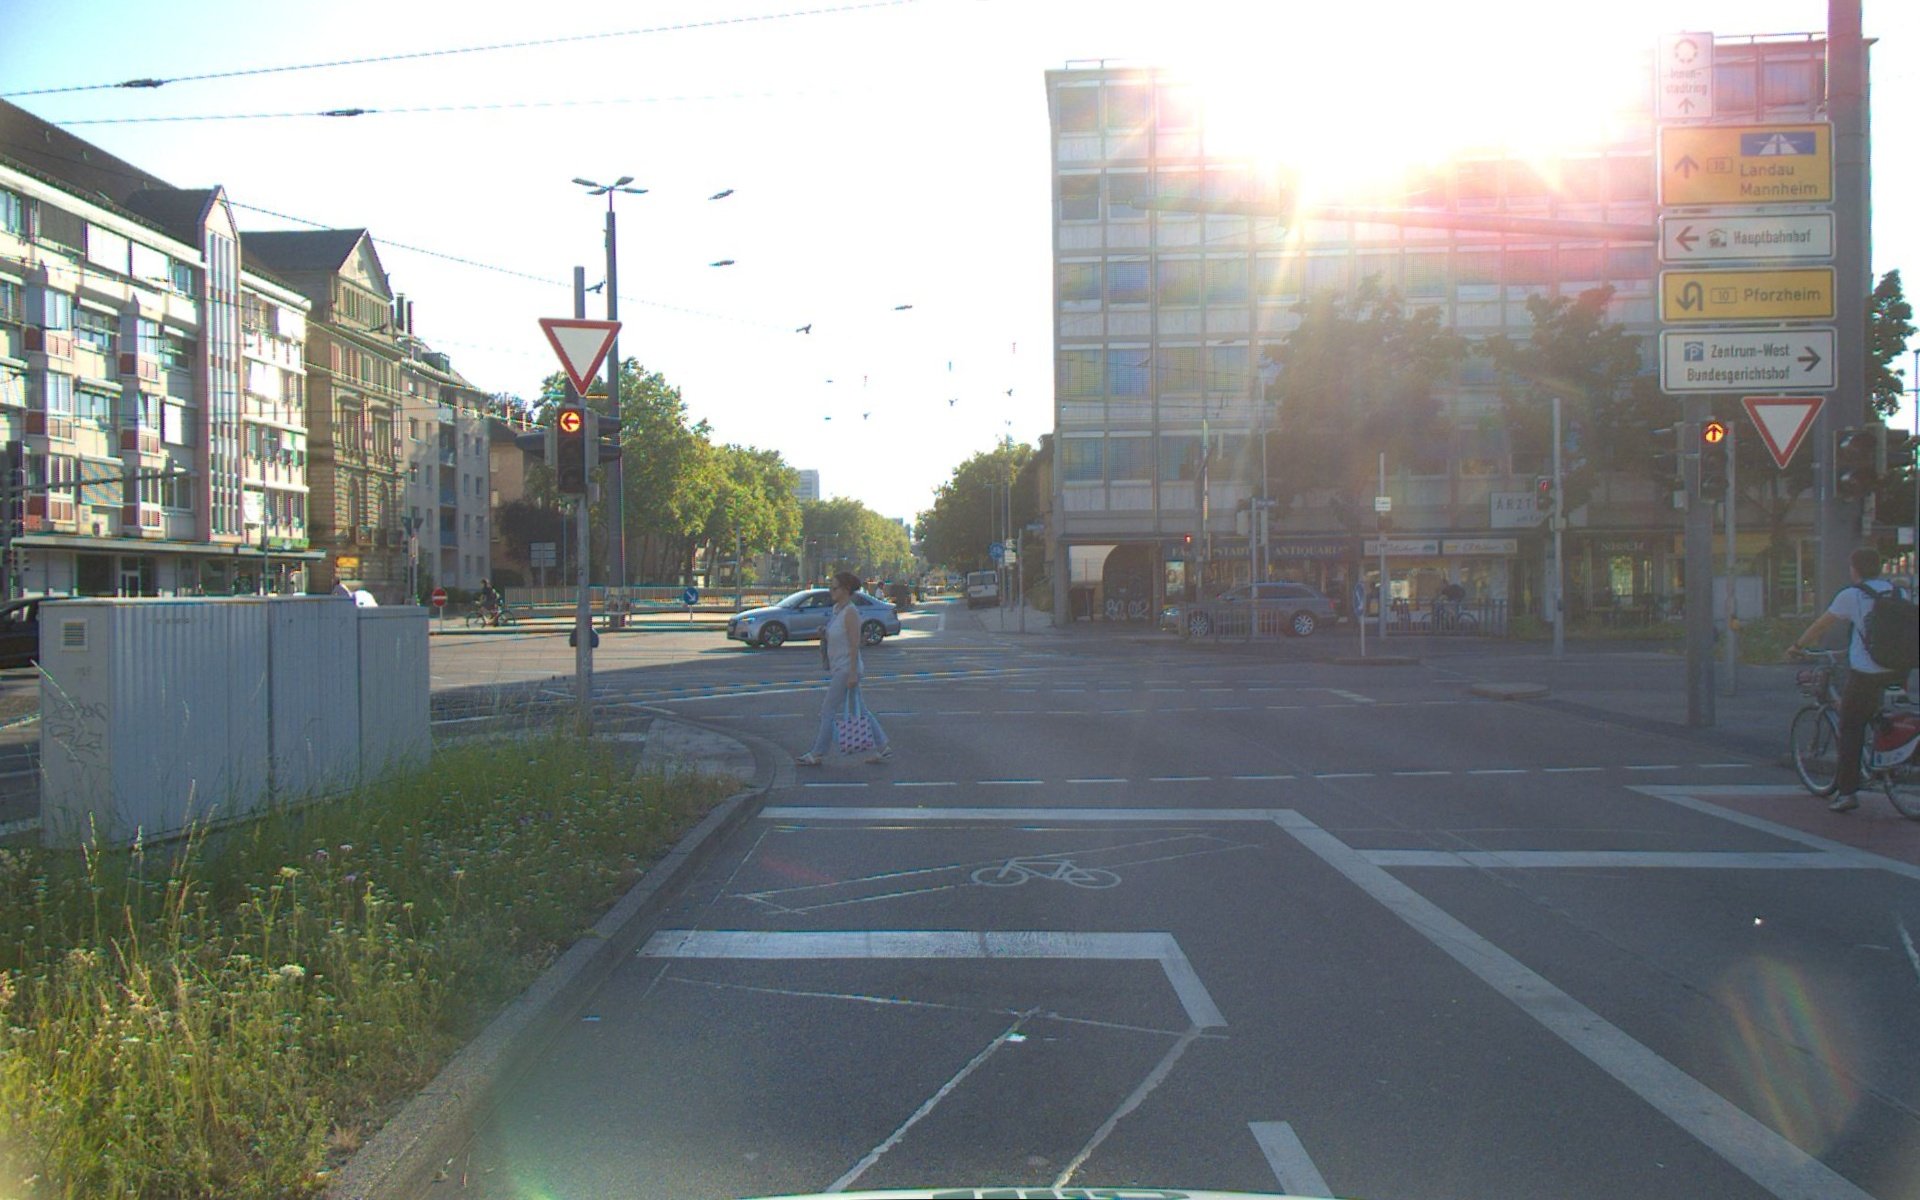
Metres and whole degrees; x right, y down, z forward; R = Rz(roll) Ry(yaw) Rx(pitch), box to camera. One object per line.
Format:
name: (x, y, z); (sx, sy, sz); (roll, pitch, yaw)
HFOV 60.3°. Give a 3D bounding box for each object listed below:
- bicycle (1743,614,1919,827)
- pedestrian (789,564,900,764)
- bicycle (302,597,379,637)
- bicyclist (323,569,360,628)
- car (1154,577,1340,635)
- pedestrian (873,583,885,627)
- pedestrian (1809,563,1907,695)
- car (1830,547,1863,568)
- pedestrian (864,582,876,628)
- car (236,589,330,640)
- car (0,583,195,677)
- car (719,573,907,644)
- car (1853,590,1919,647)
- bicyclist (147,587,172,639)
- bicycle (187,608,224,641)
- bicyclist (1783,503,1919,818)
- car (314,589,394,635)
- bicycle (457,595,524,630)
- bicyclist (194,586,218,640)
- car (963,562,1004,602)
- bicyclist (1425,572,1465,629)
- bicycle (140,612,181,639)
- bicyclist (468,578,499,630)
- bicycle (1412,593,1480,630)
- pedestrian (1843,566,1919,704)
bicycle: (6.217, 0.770, 11.410); (0.631, 1.244, 2.049); (1, 2, 0)
pedestrian: (-0.961, 0.523, 13.879); (0.860, 1.625, 0.655); (-1, 0, -1)
bicycle: (-18.919, 0.524, 50.542); (2.053, 1.157, 0.658); (-1, 0, -5)
bicyclist: (-18.906, -0.049, 50.544); (0.881, 1.783, 0.654); (-1, 0, -5)
car: (7.797, 0.157, 45.324); (4.817, 1.504, 2.001); (-1, 0, 3)
pedestrian: (-2.789, 0.170, 57.040); (0.359, 1.534, 0.542); (-1, 0, -7)
pedestrian: (11.295, 0.356, 20.820); (0.861, 1.625, 0.655); (-1, 0, -3)
car: (64.376, -3.075, 120.126); (1.954, 1.422, 3.997); (-1, 1, 26)
pedestrian: (-3.035, 0.181, 55.769); (0.359, 1.534, 0.542); (-1, 0, -7)
car: (-26.723, 0.535, 65.431); (1.952, 1.892, 4.001); (-1, 1, 2)
car: (-17.099, 0.544, 30.925); (4.737, 1.624, 1.970); (-2, 1, -41)
car: (-3.691, 0.192, 41.510); (4.279, 1.624, 1.983); (-2, 1, -26)
car: (27.448, 0.468, 45.380); (4.819, 1.504, 2.000); (-1, 0, -1)
bicyclist: (-29.737, 0.484, 61.465); (0.580, 1.894, 0.642); (-1, 0, 1)
bicycle: (-28.897, 0.916, 63.343); (0.596, 1.222, 1.966); (-1, 0, -4)
bicyclist: (6.233, 0.380, 11.304); (0.630, 2.048, 1.067); (1, 2, 0)
car: (-26.887, 0.505, 73.510); (1.952, 1.892, 4.001); (-1, 1, 2)
bicycle: (-16.367, 0.435, 57.687); (2.131, 1.157, 0.658); (-1, 0, -5)
bicyclist: (-28.895, 0.487, 63.373); (0.591, 2.049, 0.778); (-1, 0, -5)
car: (1.495, -1.144, 108.916); (2.435, 2.434, 5.933); (-2, 0, -1)
bicyclist: (15.184, 0.004, 51.832); (1.019, 1.769, 0.677); (-1, 0, -5)
bicycle: (-29.717, 0.953, 61.467); (0.586, 0.931, 1.836); (-1, 1, 1)
bicyclist: (-16.609, 0.126, 57.662); (0.881, 1.783, 0.650); (-1, 0, -5)
bicycle: (15.236, 0.347, 51.840); (1.934, 1.117, 0.677); (-1, 0, -5)
pedestrian: (11.304, 0.412, 20.024); (0.861, 1.625, 0.655); (-1, 0, -3)
